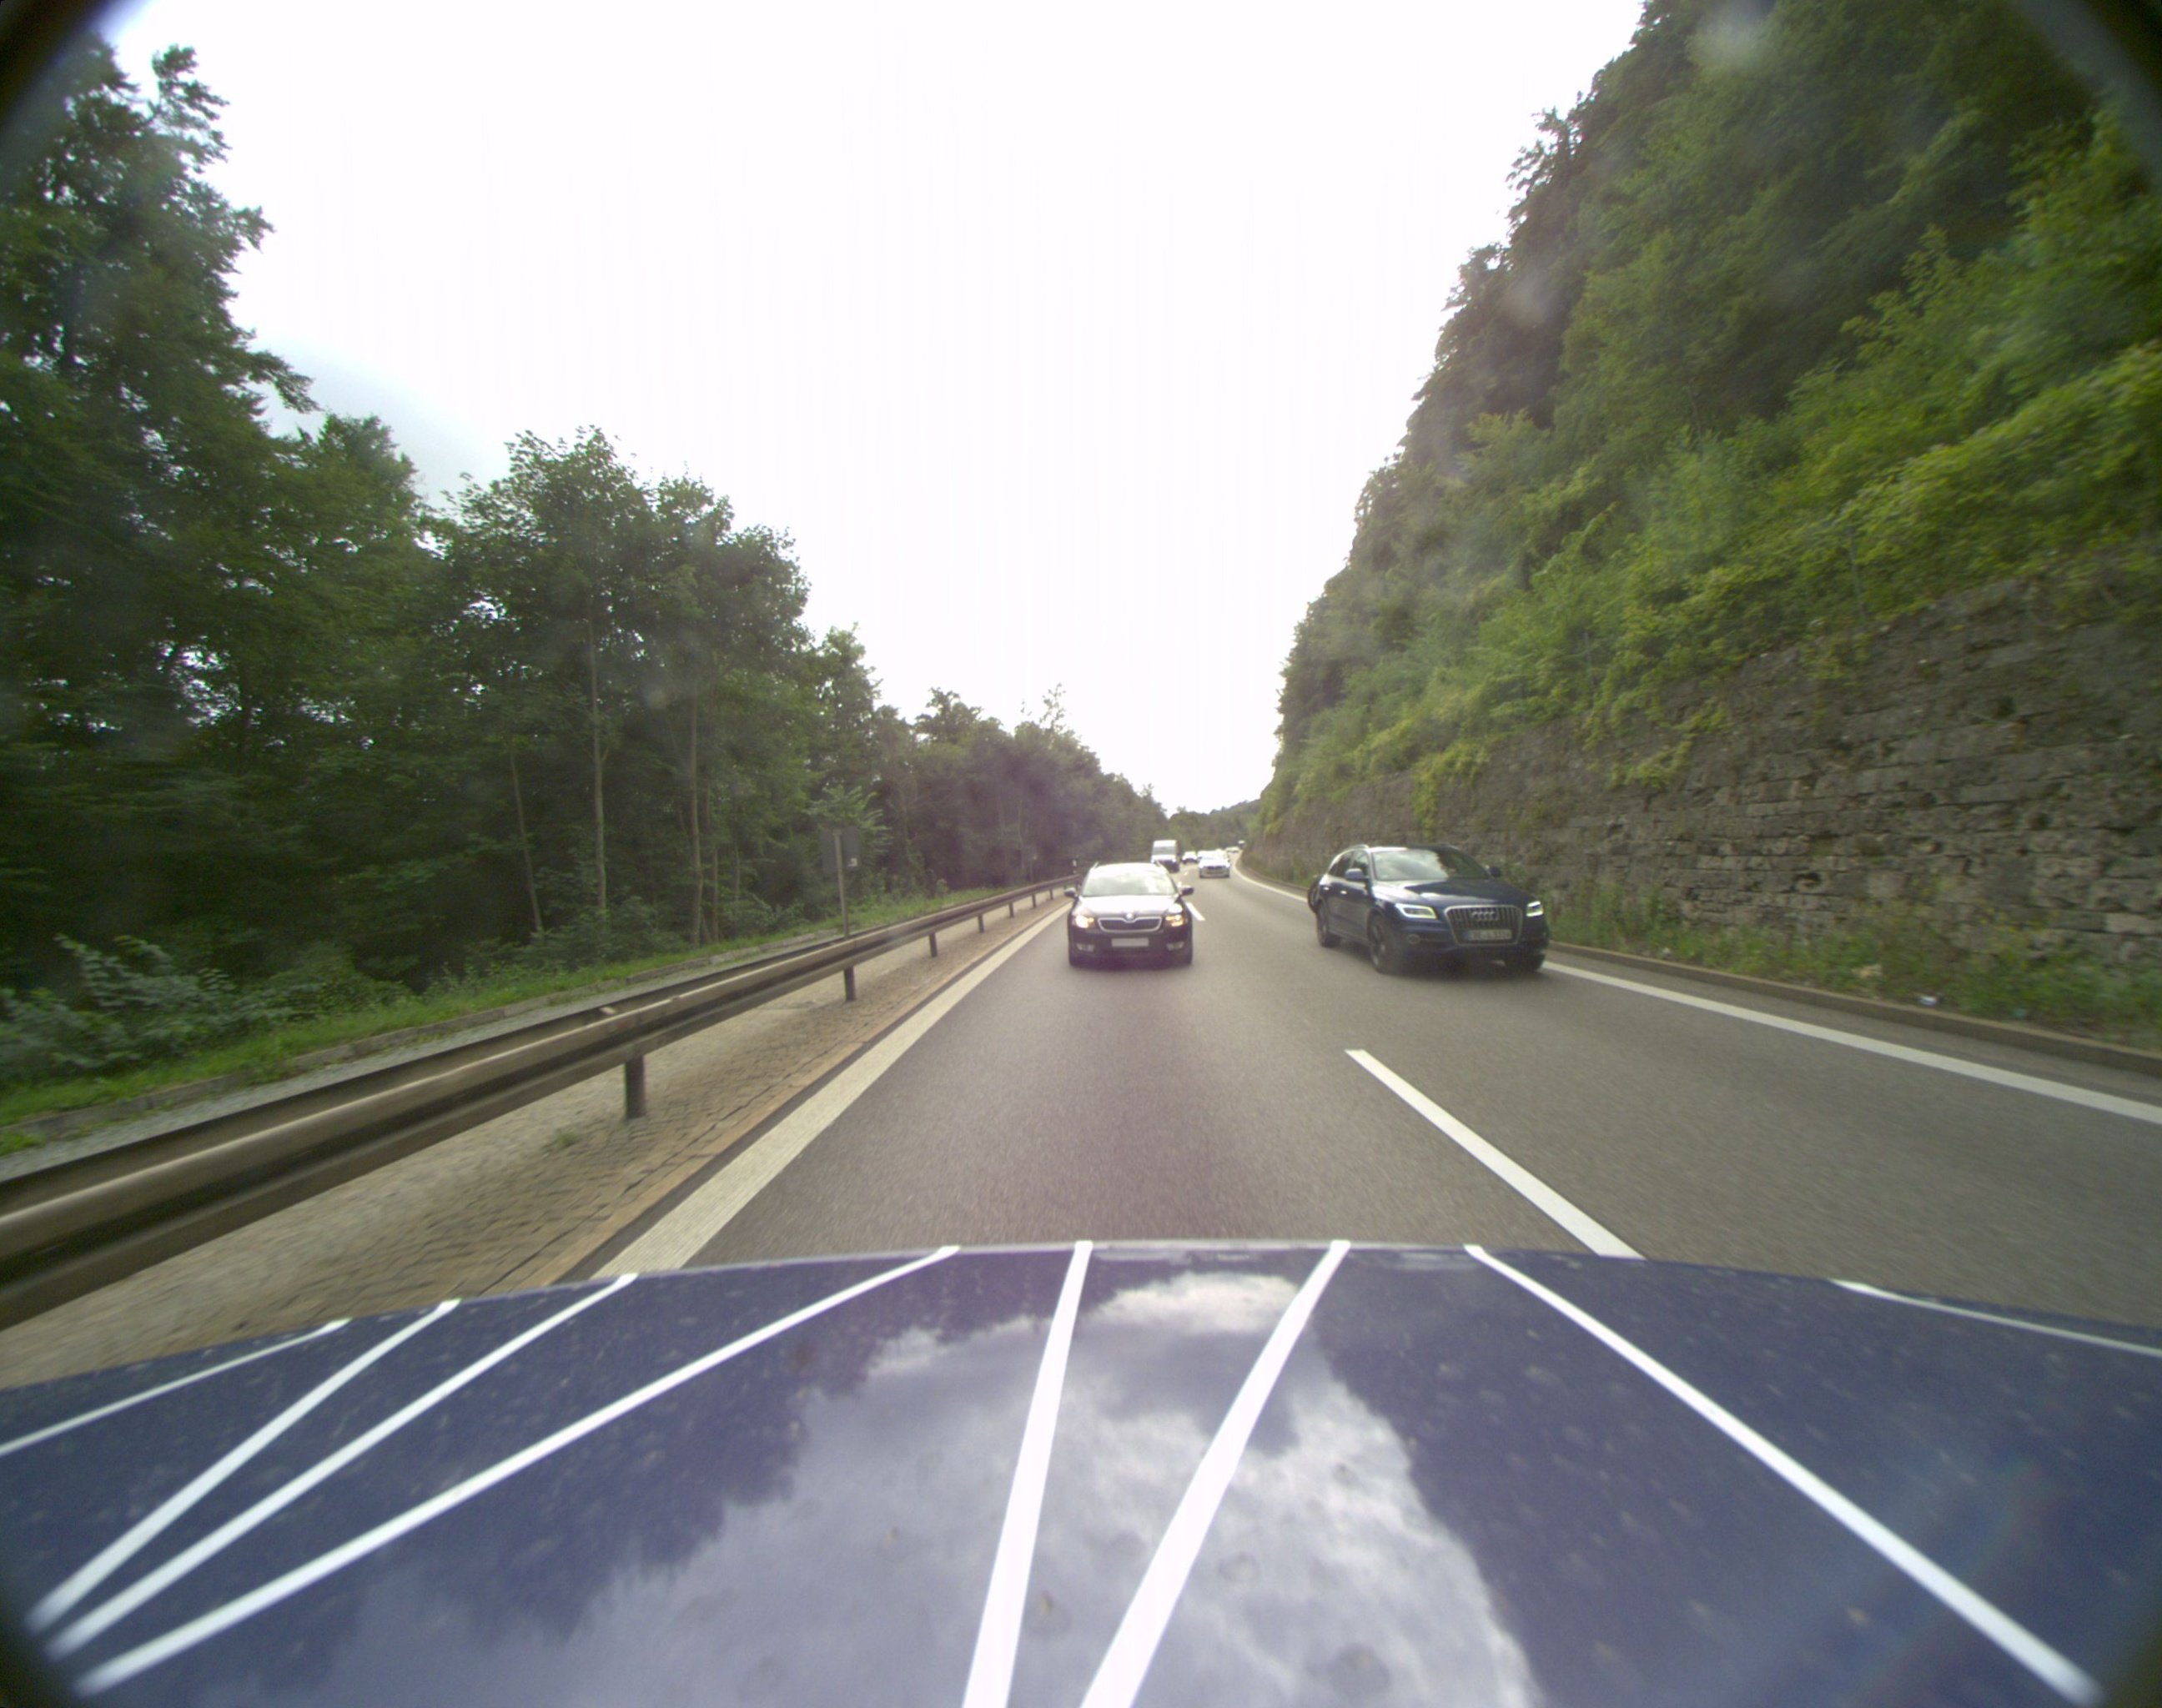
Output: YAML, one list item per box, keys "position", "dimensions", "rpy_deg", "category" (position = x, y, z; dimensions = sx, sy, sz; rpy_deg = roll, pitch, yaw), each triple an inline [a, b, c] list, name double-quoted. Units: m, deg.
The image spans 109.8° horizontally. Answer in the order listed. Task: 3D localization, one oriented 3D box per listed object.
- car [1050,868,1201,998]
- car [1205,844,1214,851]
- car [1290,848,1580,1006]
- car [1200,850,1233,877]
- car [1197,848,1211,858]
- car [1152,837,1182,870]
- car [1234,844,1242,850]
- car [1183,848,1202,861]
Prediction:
- position: [0.619, 0.923, 10.639]
  dimensions: [1.638, 1.384, 4.500]
  rpy_deg: [-1, -1, 3]
  category: "car"
- position: [33.326, -1.683, 196.658]
  dimensions: [1.821, 1.546, 4.005]
  rpy_deg: [-1, -1, 15]
  category: "car"
- position: [4.690, 0.797, 11.220]
  dimensions: [1.975, 1.584, 5.586]
  rpy_deg: [-4, 1, 4]
  category: "car"
- position: [8.397, 0.602, 47.391]
  dimensions: [1.822, 1.546, 4.003]
  rpy_deg: [-1, -1, 8]
  category: "car"
- position: [19.667, -0.117, 121.268]
  dimensions: [1.821, 1.546, 4.005]
  rpy_deg: [-1, -1, 15]
  category: "car"
- position: [7.019, 0.010, 61.703]
  dimensions: [2.097, 2.547, 5.924]
  rpy_deg: [-1, -1, 9]
  category: "car"
- position: [42.622, -1.790, 206.589]
  dimensions: [1.821, 1.546, 4.005]
  rpy_deg: [-1, -1, 15]
  category: "car"
- position: [13.770, 0.069, 93.839]
  dimensions: [1.821, 1.546, 4.005]
  rpy_deg: [-1, -1, 15]
  category: "car"
